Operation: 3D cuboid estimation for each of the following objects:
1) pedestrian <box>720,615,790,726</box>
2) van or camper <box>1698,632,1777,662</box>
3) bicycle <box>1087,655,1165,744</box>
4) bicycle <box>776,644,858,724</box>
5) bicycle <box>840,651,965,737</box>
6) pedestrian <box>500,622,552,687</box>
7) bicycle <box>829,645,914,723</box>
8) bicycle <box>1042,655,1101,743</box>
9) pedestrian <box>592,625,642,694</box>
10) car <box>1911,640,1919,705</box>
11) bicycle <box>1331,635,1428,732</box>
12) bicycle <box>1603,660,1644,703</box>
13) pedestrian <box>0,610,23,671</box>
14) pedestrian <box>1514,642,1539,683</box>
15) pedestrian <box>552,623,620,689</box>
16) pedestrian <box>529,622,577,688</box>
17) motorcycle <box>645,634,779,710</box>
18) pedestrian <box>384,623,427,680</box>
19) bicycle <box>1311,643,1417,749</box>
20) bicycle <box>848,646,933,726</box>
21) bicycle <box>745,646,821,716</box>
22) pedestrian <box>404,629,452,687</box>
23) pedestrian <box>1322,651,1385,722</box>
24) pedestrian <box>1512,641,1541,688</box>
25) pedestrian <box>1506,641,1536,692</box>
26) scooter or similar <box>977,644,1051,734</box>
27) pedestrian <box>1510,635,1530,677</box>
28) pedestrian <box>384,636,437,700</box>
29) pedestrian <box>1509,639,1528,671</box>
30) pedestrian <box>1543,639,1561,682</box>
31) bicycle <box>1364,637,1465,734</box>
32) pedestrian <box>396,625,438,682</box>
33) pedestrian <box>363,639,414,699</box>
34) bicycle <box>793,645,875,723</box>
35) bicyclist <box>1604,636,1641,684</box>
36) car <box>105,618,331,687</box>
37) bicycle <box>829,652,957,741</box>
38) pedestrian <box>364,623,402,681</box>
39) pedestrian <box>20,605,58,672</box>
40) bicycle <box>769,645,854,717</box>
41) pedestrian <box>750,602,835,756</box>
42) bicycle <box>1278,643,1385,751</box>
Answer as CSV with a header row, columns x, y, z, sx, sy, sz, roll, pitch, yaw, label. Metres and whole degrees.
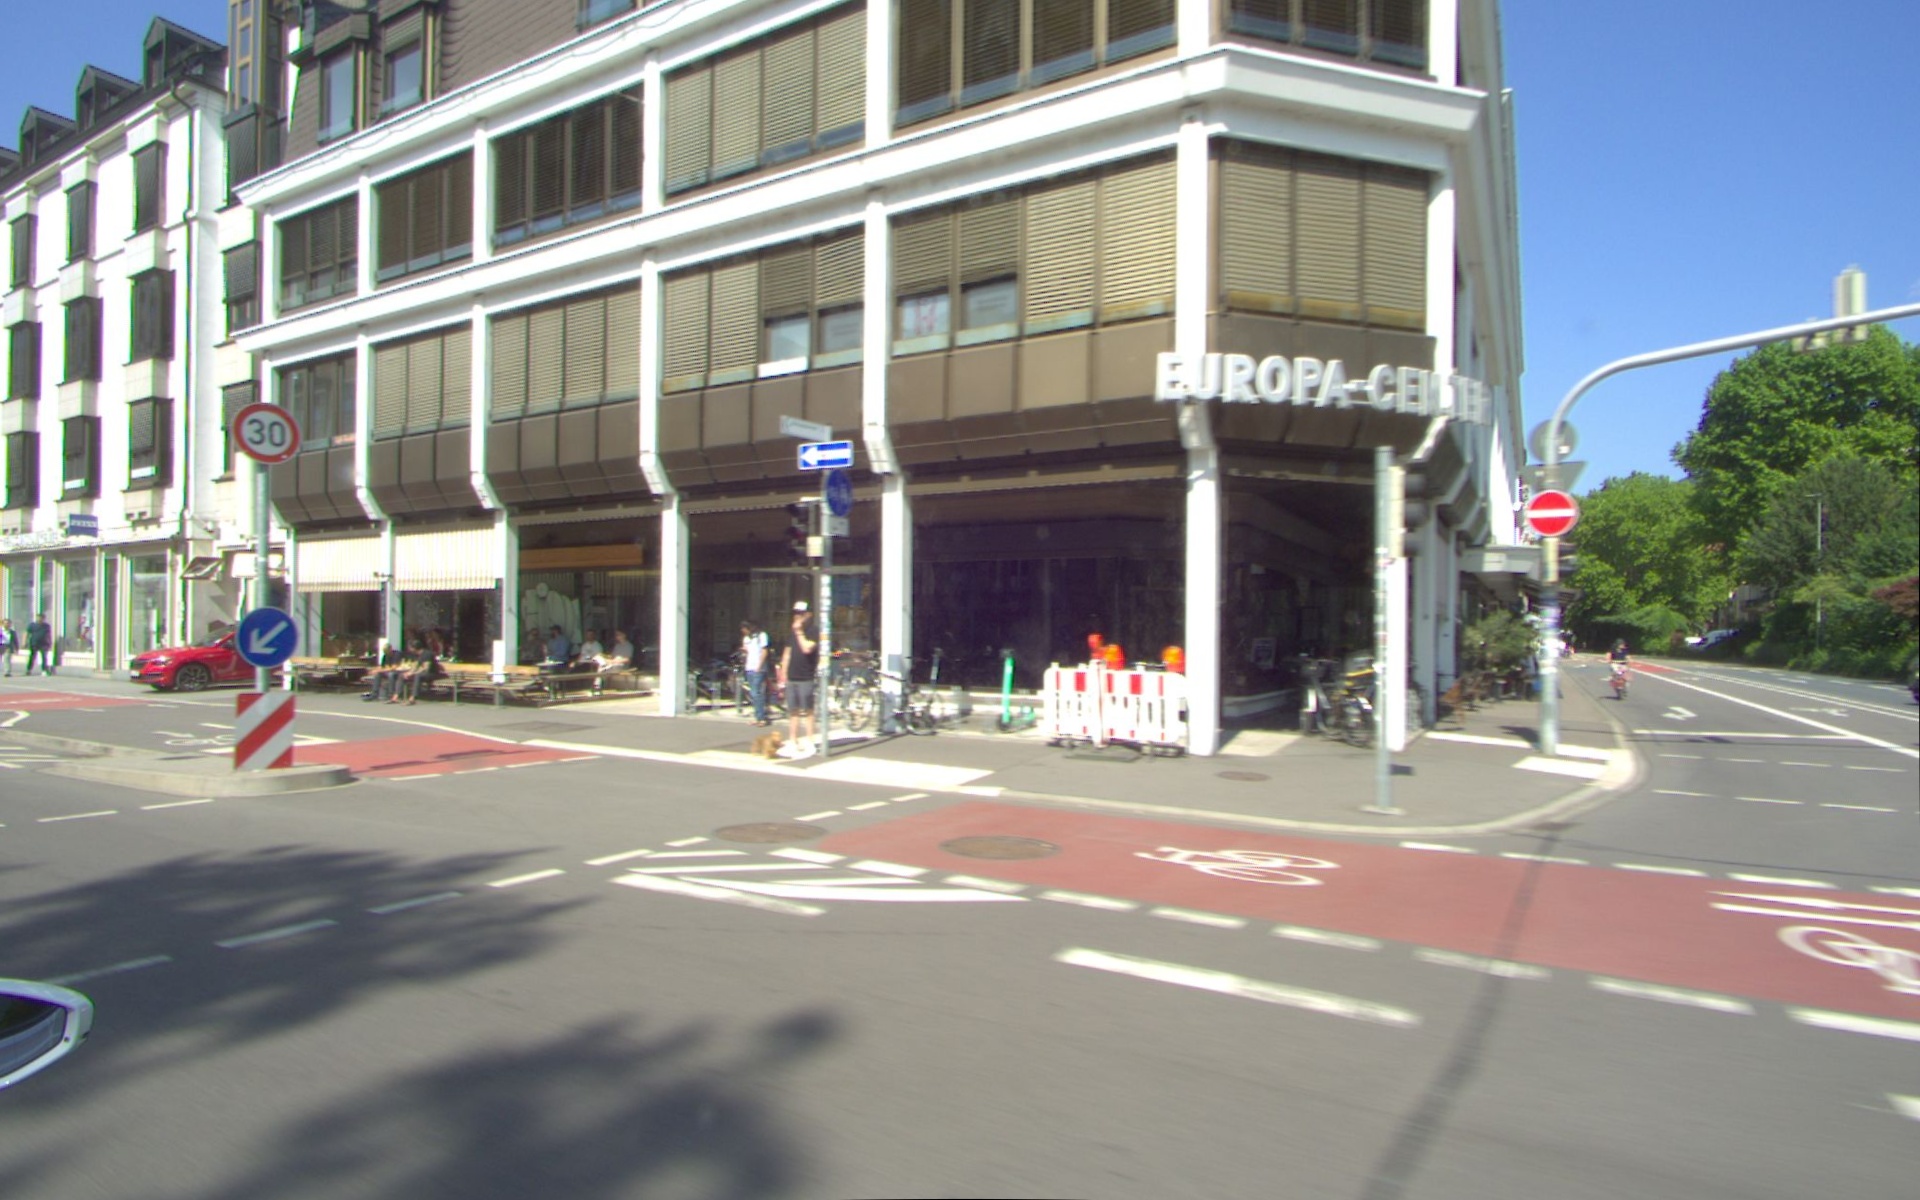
x,y,z,sx,sy,sz,roll,pitch,yaw,label
-3.196,1.083,15.643,0.688,1.684,0.829,-2,-2,39,pedestrian
77.921,4.709,100.475,2.345,2.941,5.905,1,-2,-21,van or camper
2.241,1.328,13.664,0.304,1.079,1.466,0,0,-23,bicycle
-2.287,1.322,16.132,0.274,1.222,1.540,0,-2,37,bicycle
-0.885,1.345,14.691,2.216,1.135,0.275,0,-1,39,bicycle
-9.704,1.217,22.408,0.686,1.414,0.812,-1,-2,29,pedestrian
-1.377,1.306,15.936,0.274,1.135,1.710,0,0,37,bicycle
1.532,1.349,13.952,0.370,1.079,1.469,0,0,-12,bicycle
-7.181,1.232,20.964,0.686,1.414,0.710,-1,-2,30,pedestrian
26.144,1.835,24.875,4.671,1.603,2.058,2,-2,-24,car
6.808,1.314,16.342,0.521,1.441,1.966,1,0,-7,bicycle
18.701,2.272,28.246,0.753,1.134,2.114,-1,-2,29,bicycle
-27.118,1.130,28.386,0.825,1.707,0.691,0,-1,40,pedestrian
20.003,2.191,35.366,0.746,1.411,0.714,0,-1,30,pedestrian
-8.000,1.191,21.440,1.089,1.368,0.895,-2,-2,30,pedestrian
-8.960,1.205,22.035,0.686,1.414,0.710,-1,-2,30,pedestrian
-4.519,1.277,18.291,2.212,1.307,0.944,1,-2,-31,motorcycle
-13.799,1.281,24.922,0.575,1.385,0.743,0,-1,30,pedestrian
5.624,1.297,14.054,0.521,1.334,1.858,1,0,-7,bicycle
-1.066,1.315,15.697,0.274,1.135,1.710,0,0,37,bicycle
-3.029,1.360,17.364,0.272,1.111,2.241,1,-2,17,bicycle
-12.958,1.396,24.403,0.529,1.385,0.876,0,-1,30,pedestrian
7.861,1.712,20.025,0.813,1.352,0.972,1,-1,-5,pedestrian
17.301,1.961,30.574,0.746,1.411,0.925,0,-1,30,pedestrian
16.251,1.910,29.004,0.746,1.411,0.925,0,-1,30,pedestrian
0.803,1.281,14.731,0.474,1.248,1.242,0,-2,37,scooter or similar
23.659,2.362,42.310,0.746,1.751,0.794,0,-2,30,pedestrian
-10.851,1.337,19.775,0.688,1.232,0.708,-2,-2,39,pedestrian
24.984,2.438,44.794,0.746,1.411,0.714,0,-1,30,pedestrian
22.971,2.352,38.866,0.607,1.632,0.870,0,-1,30,pedestrian
7.391,1.353,16.380,0.521,1.441,1.966,1,0,-7,bicycle
-13.347,1.309,24.643,0.471,1.385,0.760,0,-1,30,pedestrian
-11.557,1.386,20.239,0.688,1.187,0.708,-2,-2,39,pedestrian
-1.980,1.316,15.939,0.274,1.135,1.565,0,0,37,bicycle
18.697,1.693,28.260,0.770,1.325,0.939,-1,-2,29,bicyclist
-17.841,1.253,24.246,1.816,1.513,4.037,-3,-3,32,car
-0.998,1.339,14.322,2.216,1.135,0.275,0,-1,39,bicycle
-14.167,1.265,24.603,0.679,1.385,0.534,0,-1,32,pedestrian
-26.491,1.113,28.813,0.825,1.874,0.691,-2,-2,40,pedestrian
-2.490,1.335,17.078,0.273,1.135,2.238,1,-2,23,bicycle
-2.121,0.978,12.709,0.688,1.859,0.829,-1,-1,39,pedestrian
5.120,1.299,13.924,0.521,1.334,1.966,1,0,-7,bicycle
